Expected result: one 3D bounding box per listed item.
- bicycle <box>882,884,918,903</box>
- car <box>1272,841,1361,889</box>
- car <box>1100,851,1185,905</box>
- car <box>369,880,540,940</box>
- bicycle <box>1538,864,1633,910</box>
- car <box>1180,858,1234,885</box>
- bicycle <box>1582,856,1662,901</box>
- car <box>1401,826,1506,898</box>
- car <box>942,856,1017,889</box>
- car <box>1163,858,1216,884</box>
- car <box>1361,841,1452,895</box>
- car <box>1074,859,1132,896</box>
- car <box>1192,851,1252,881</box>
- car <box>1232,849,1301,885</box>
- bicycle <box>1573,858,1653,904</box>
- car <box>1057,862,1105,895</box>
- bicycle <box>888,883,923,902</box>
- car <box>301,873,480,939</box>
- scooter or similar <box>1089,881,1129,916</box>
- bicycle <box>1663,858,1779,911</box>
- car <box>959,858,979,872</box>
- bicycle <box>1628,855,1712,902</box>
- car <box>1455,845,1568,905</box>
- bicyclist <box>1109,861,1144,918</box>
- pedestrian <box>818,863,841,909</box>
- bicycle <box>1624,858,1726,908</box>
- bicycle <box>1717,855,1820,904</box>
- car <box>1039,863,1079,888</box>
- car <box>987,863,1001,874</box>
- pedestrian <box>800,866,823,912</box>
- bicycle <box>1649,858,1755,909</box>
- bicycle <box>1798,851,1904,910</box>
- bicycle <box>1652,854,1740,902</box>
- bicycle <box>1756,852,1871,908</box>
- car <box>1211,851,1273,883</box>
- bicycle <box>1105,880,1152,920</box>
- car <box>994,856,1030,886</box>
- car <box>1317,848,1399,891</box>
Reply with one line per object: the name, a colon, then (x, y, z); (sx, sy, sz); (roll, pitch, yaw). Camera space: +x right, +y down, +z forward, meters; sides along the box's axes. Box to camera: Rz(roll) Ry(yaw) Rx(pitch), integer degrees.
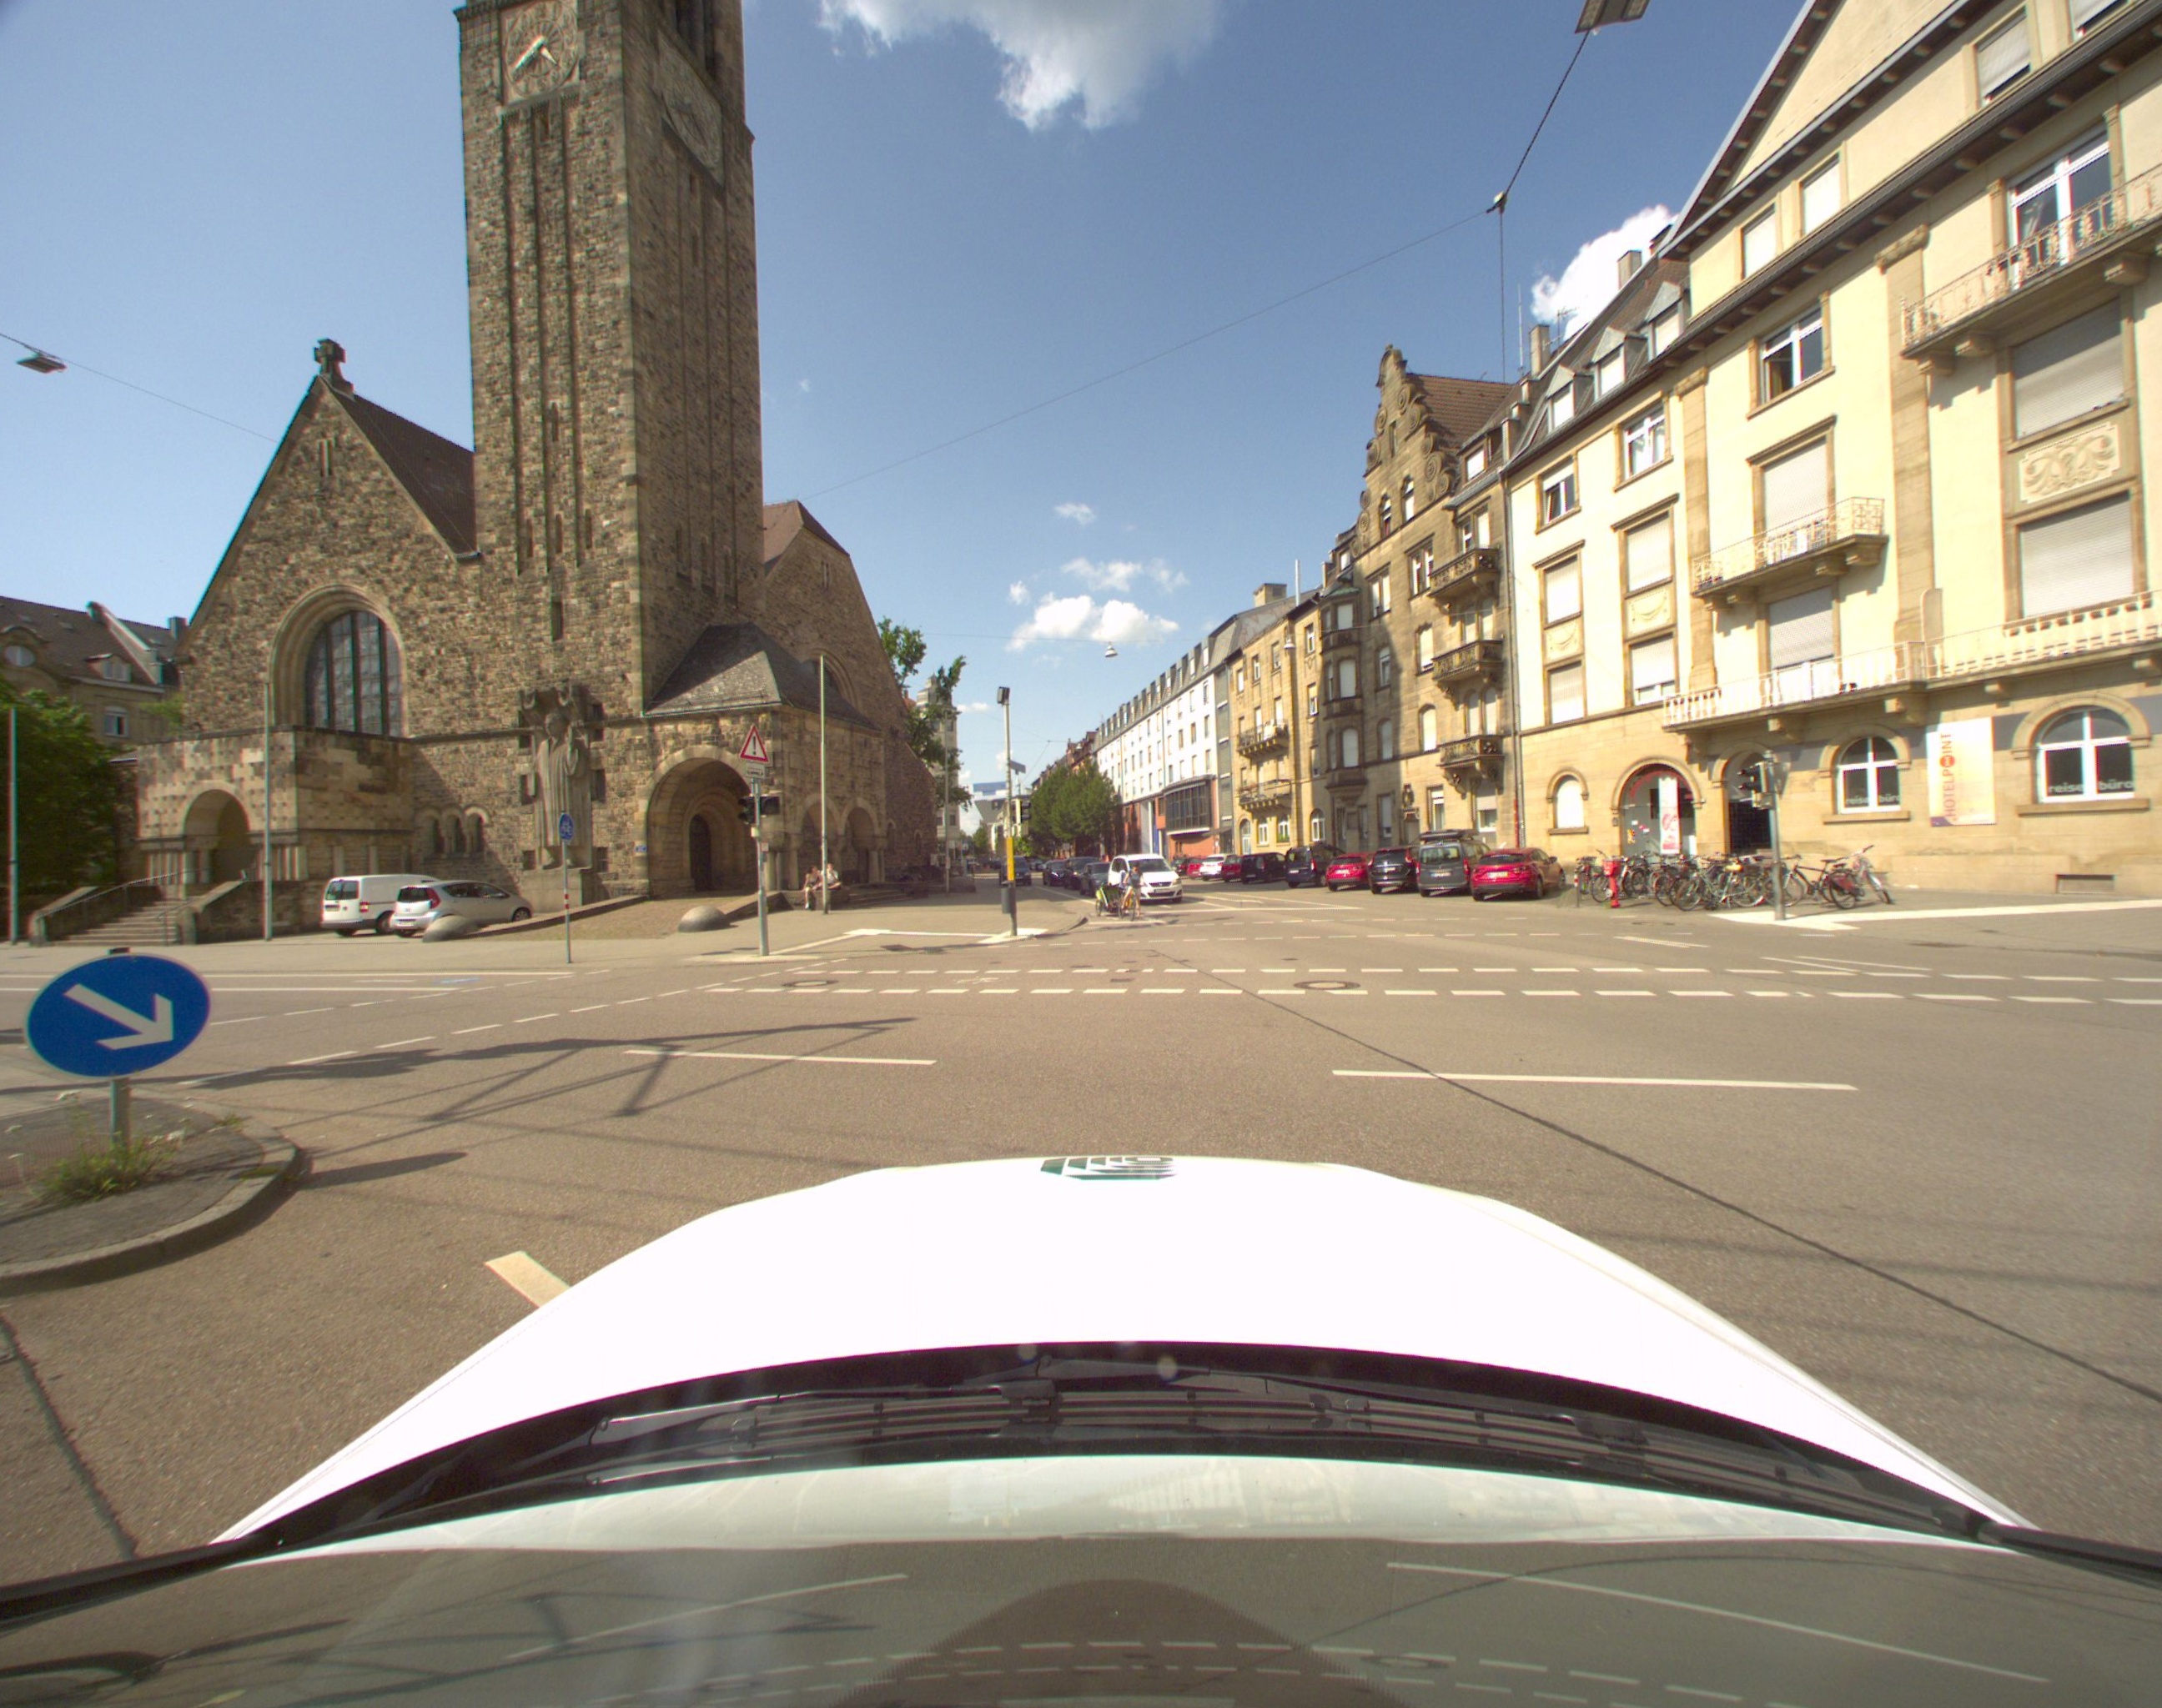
bicycle: (-7.175, 1.571, 32.368); (1.353, 0.741, 0.340); (-2, -1, 12)
car: (10.700, 0.469, 36.846); (4.022, 1.825, 1.893); (-4, 0, -42)
car: (2.089, 0.812, 29.276); (1.810, 1.740, 4.645); (-2, 0, -11)
car: (-18.834, 1.641, 24.711); (1.779, 1.547, 3.792); (-2, 0, 13)
bicycle: (12.284, 0.799, 19.908); (0.541, 1.018, 1.911); (-4, 0, -27)
car: (7.961, 1.063, 51.281); (1.585, 1.396, 3.596); (-4, 0, 42)
bicycle: (14.377, 0.644, 21.642); (1.924, 1.018, 0.538); (-5, 0, -12)
car: (12.548, 0.219, 27.309); (1.943, 2.082, 4.025); (-4, 0, 42)
car: (-5.562, 1.028, 44.398); (2.044, 1.652, 3.923); (-2, -1, -44)
car: (7.208, 1.096, 53.803); (1.585, 1.396, 3.596); (-4, 0, 42)
car: (11.991, 0.485, 29.907); (1.689, 1.668, 4.025); (-4, 0, 42)
car: (0.886, 0.975, 35.280); (1.670, 1.450, 3.721); (-2, 0, -12)
car: (8.378, 0.705, 48.256); (1.585, 1.500, 3.800); (-4, 0, 42)
car: (9.721, 0.670, 42.483); (1.689, 1.546, 4.025); (-4, 0, 42)
bicycle: (13.623, 0.684, 20.851); (1.926, 1.018, 0.537); (-5, 0, -16)
car: (-0.044, 1.223, 42.384); (1.699, 1.596, 4.056); (-2, 0, -11)
bicycle: (-7.070, 1.547, 32.794); (1.353, 0.741, 0.340); (-2, -1, 12)
car: (-21.899, 1.597, 26.043); (1.845, 1.824, 4.028); (-2, 0, 12)
scooter or similar: (0.816, 1.311, 24.188); (0.889, 0.977, 1.125); (-2, -1, -15)
bicycle: (13.936, 0.659, 17.787); (1.857, 1.018, 0.605); (-4, 0, 15)
car: (-11.044, 1.075, 80.355); (1.635, 1.325, 3.737); (-2, 0, -4)
bicycle: (14.883, 0.605, 20.581); (1.924, 1.018, 0.538); (-5, 0, -12)
car: (12.845, 0.590, 24.185); (1.943, 1.441, 4.025); (-4, 0, 43)
bicyclist: (1.256, 0.964, 22.649); (0.651, 1.503, 0.917); (-3, 0, -15)
pedestrian: (-8.192, 1.039, 26.507); (0.561, 1.406, 0.512); (-4, 6, -33)
bicycle: (13.923, 0.679, 19.120); (1.914, 1.018, 0.541); (-5, 0, 2)
bicycle: (15.779, 0.565, 18.762); (0.538, 1.018, 1.924); (-4, 0, -7)
car: (-1.314, 1.241, 48.161); (1.699, 1.390, 3.846); (-2, 0, -11)
car: (-15.017, 2.485, 140.731); (1.994, 1.816, 3.986); (-2, 0, -10)
pedestrian: (-8.671, 1.117, 26.200); (0.561, 1.406, 0.512); (-4, 6, -33)
bicycle: (14.123, 0.665, 18.553); (1.914, 1.018, 0.541); (-4, 0, 2)
bicycle: (15.503, 0.524, 16.391); (1.874, 1.018, 0.607); (-4, 0, -15)
bicycle: (15.034, 0.575, 19.909); (1.924, 1.018, 0.538); (-5, 0, -12)
bicycle: (15.432, 0.534, 17.176); (1.866, 1.018, 0.609); (-4, 0, -3)
car: (9.019, 0.721, 45.458); (1.585, 1.456, 3.800); (-4, 0, 42)
bicycle: (1.298, 1.253, 22.582); (0.651, 0.989, 2.123); (-2, 0, -15)
car: (-4.313, 1.038, 50.674); (1.810, 1.664, 4.058); (-3, 1, -10)
car: (11.410, 0.598, 33.402); (1.892, 1.444, 4.026); (-4, 0, 37)
